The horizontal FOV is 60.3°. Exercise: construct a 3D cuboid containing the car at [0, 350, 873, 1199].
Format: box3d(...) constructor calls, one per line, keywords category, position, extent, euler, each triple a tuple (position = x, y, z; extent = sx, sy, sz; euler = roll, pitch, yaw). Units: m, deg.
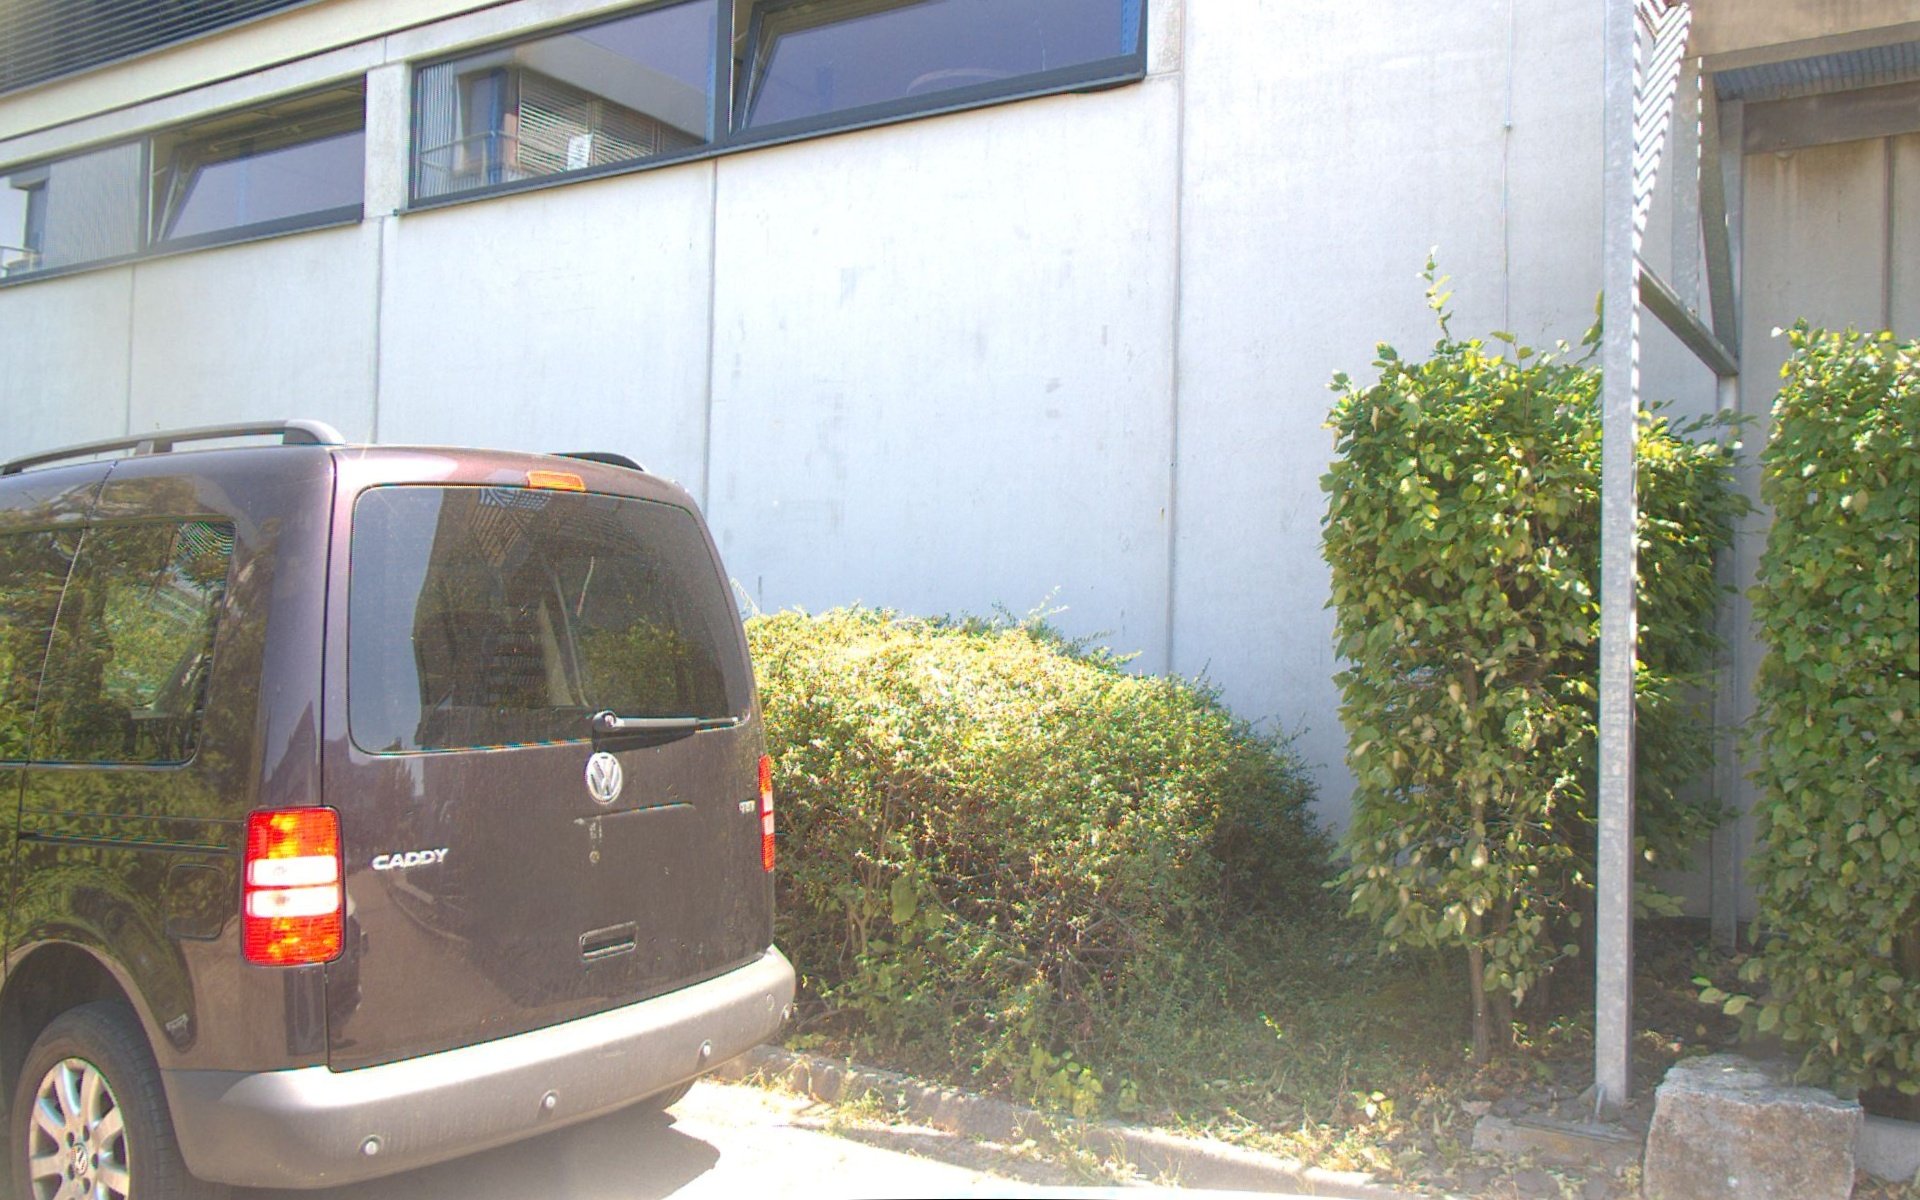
box3d(category="car", position=(-2.350, 0.497, 4.800), extent=(3.987, 1.917, 1.673), euler=(1, 0, 34))
